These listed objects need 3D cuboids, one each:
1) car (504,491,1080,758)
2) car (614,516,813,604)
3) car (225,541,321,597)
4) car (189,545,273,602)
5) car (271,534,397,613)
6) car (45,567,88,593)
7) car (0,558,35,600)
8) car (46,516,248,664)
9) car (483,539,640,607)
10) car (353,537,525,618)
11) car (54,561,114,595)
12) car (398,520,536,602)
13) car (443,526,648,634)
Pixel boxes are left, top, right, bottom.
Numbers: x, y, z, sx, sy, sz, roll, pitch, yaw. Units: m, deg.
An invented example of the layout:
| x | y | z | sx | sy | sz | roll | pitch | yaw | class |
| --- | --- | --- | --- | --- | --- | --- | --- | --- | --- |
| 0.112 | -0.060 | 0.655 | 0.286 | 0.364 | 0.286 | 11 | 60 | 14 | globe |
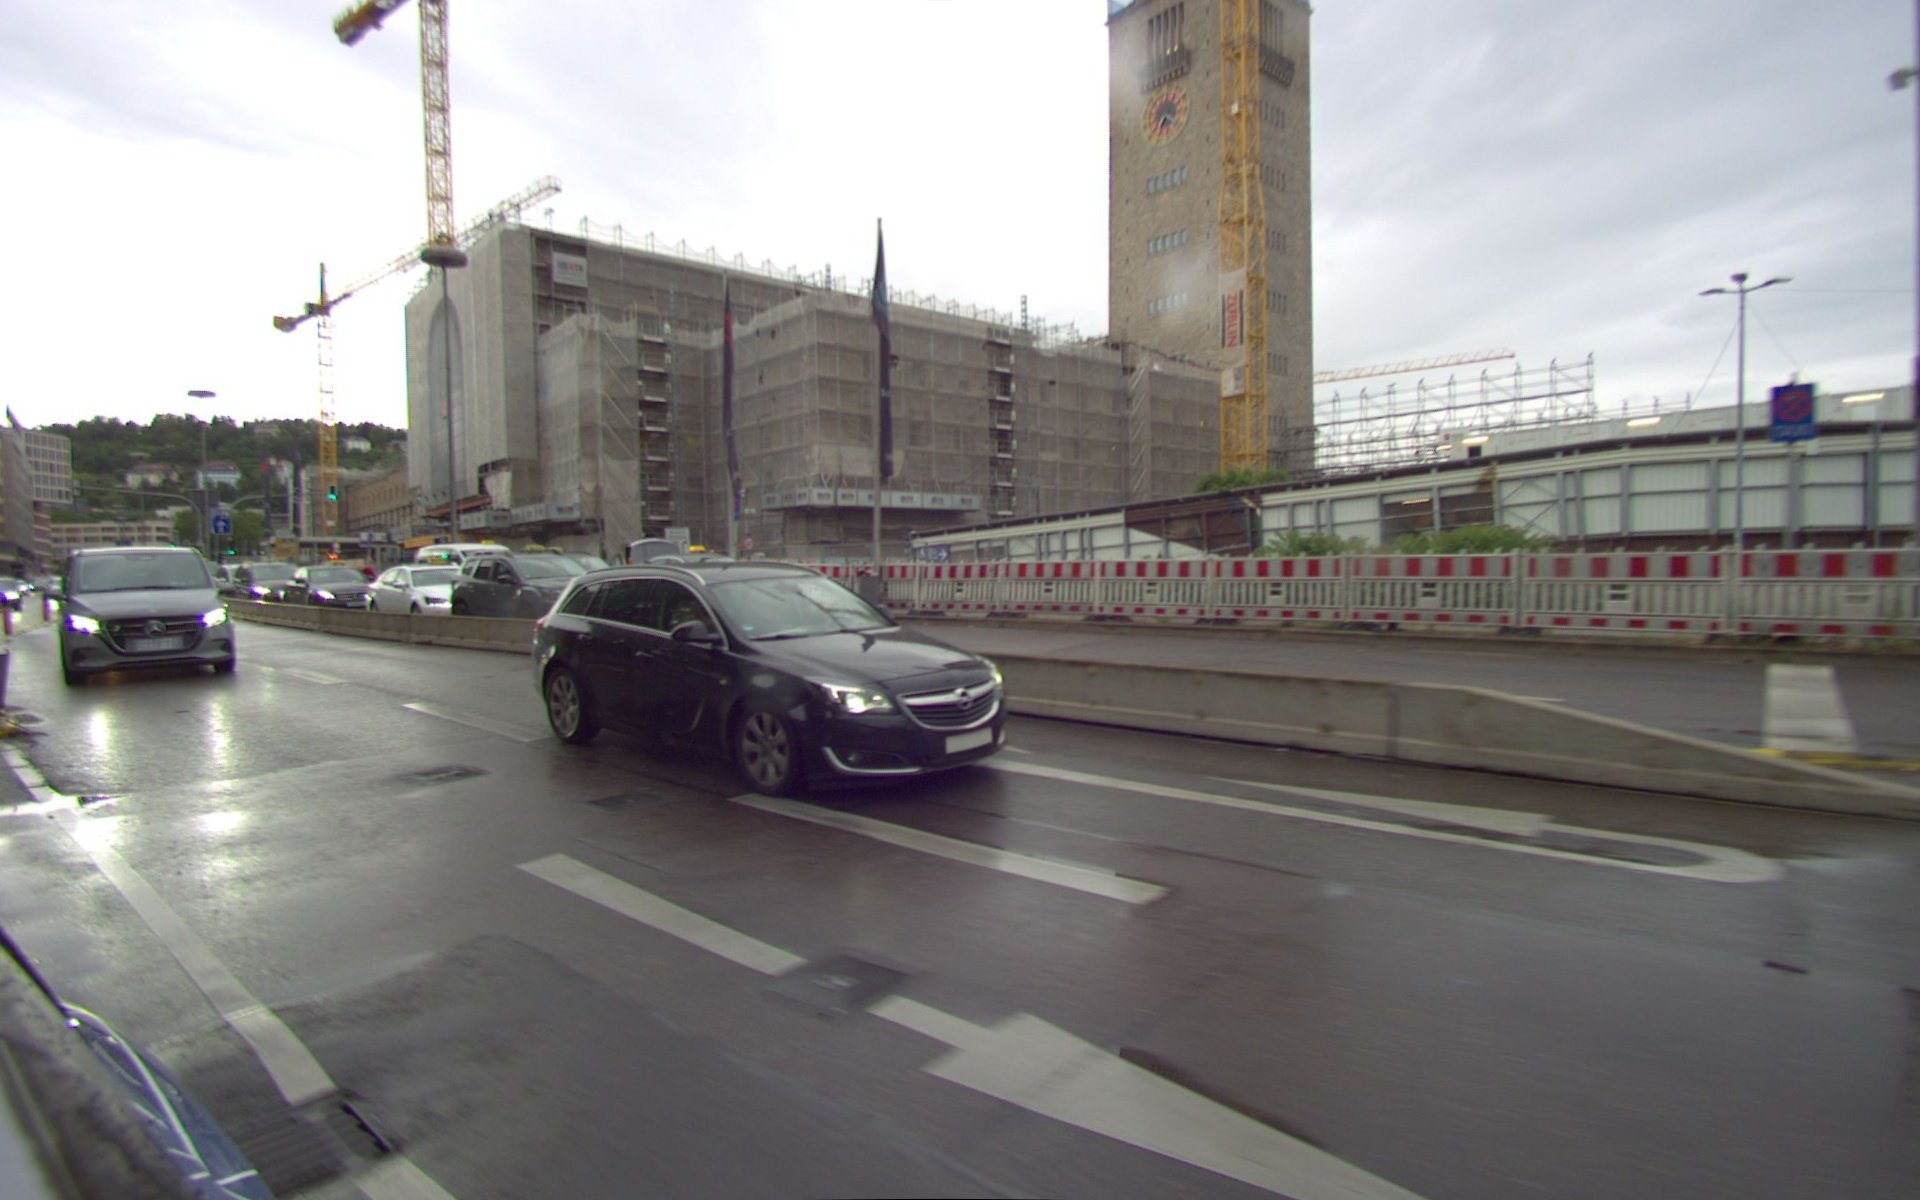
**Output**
| x | y | z | sx | sy | sz | roll | pitch | yaw | class |
| --- | --- | --- | --- | --- | --- | --- | --- | --- | --- |
| -1.586 | 0.020 | 7.894 | 4.919 | 1.474 | 1.789 | 2 | 4 | 43 | car |
| -5.275 | -0.848 | 21.314 | 4.572 | 1.665 | 1.808 | 2 | 3 | 41 | car |
| -23.060 | -1.082 | 33.906 | 1.970 | 1.729 | 4.760 | -2 | 3 | -43 | car |
| -27.358 | -1.043 | 37.947 | 1.970 | 2.028 | 4.003 | -2 | 3 | -44 | car |
| -18.418 | -0.819 | 29.697 | 4.715 | 2.129 | 1.972 | 3 | 3 | 43 | car |
| -61.482 | -1.407 | 69.586 | 3.999 | 1.721 | 1.741 | 2 | 3 | 42 | car |
| -43.166 | -0.974 | 45.463 | 3.999 | 1.776 | 1.973 | 2 | 3 | 42 | car |
| -12.537 | -0.252 | 15.441 | 1.970 | 1.869 | 5.364 | -4 | 4 | -42 | car |
| -10.134 | -0.713 | 25.633 | 3.999 | 1.584 | 2.144 | 2 | 3 | 41 | car |
| -12.008 | -0.542 | 23.170 | 4.901 | 1.666 | 1.972 | 2 | 2 | 43 | car |
| -43.611 | -1.126 | 50.360 | 4.249 | 1.549 | 1.790 | 3 | 3 | 42 | car |
| -14.688 | -1.160 | 30.016 | 4.997 | 2.223 | 1.977 | 2 | 3 | 42 | car |
| -8.006 | -0.441 | 19.395 | 4.292 | 1.827 | 1.973 | 3 | 3 | 42 | car |
